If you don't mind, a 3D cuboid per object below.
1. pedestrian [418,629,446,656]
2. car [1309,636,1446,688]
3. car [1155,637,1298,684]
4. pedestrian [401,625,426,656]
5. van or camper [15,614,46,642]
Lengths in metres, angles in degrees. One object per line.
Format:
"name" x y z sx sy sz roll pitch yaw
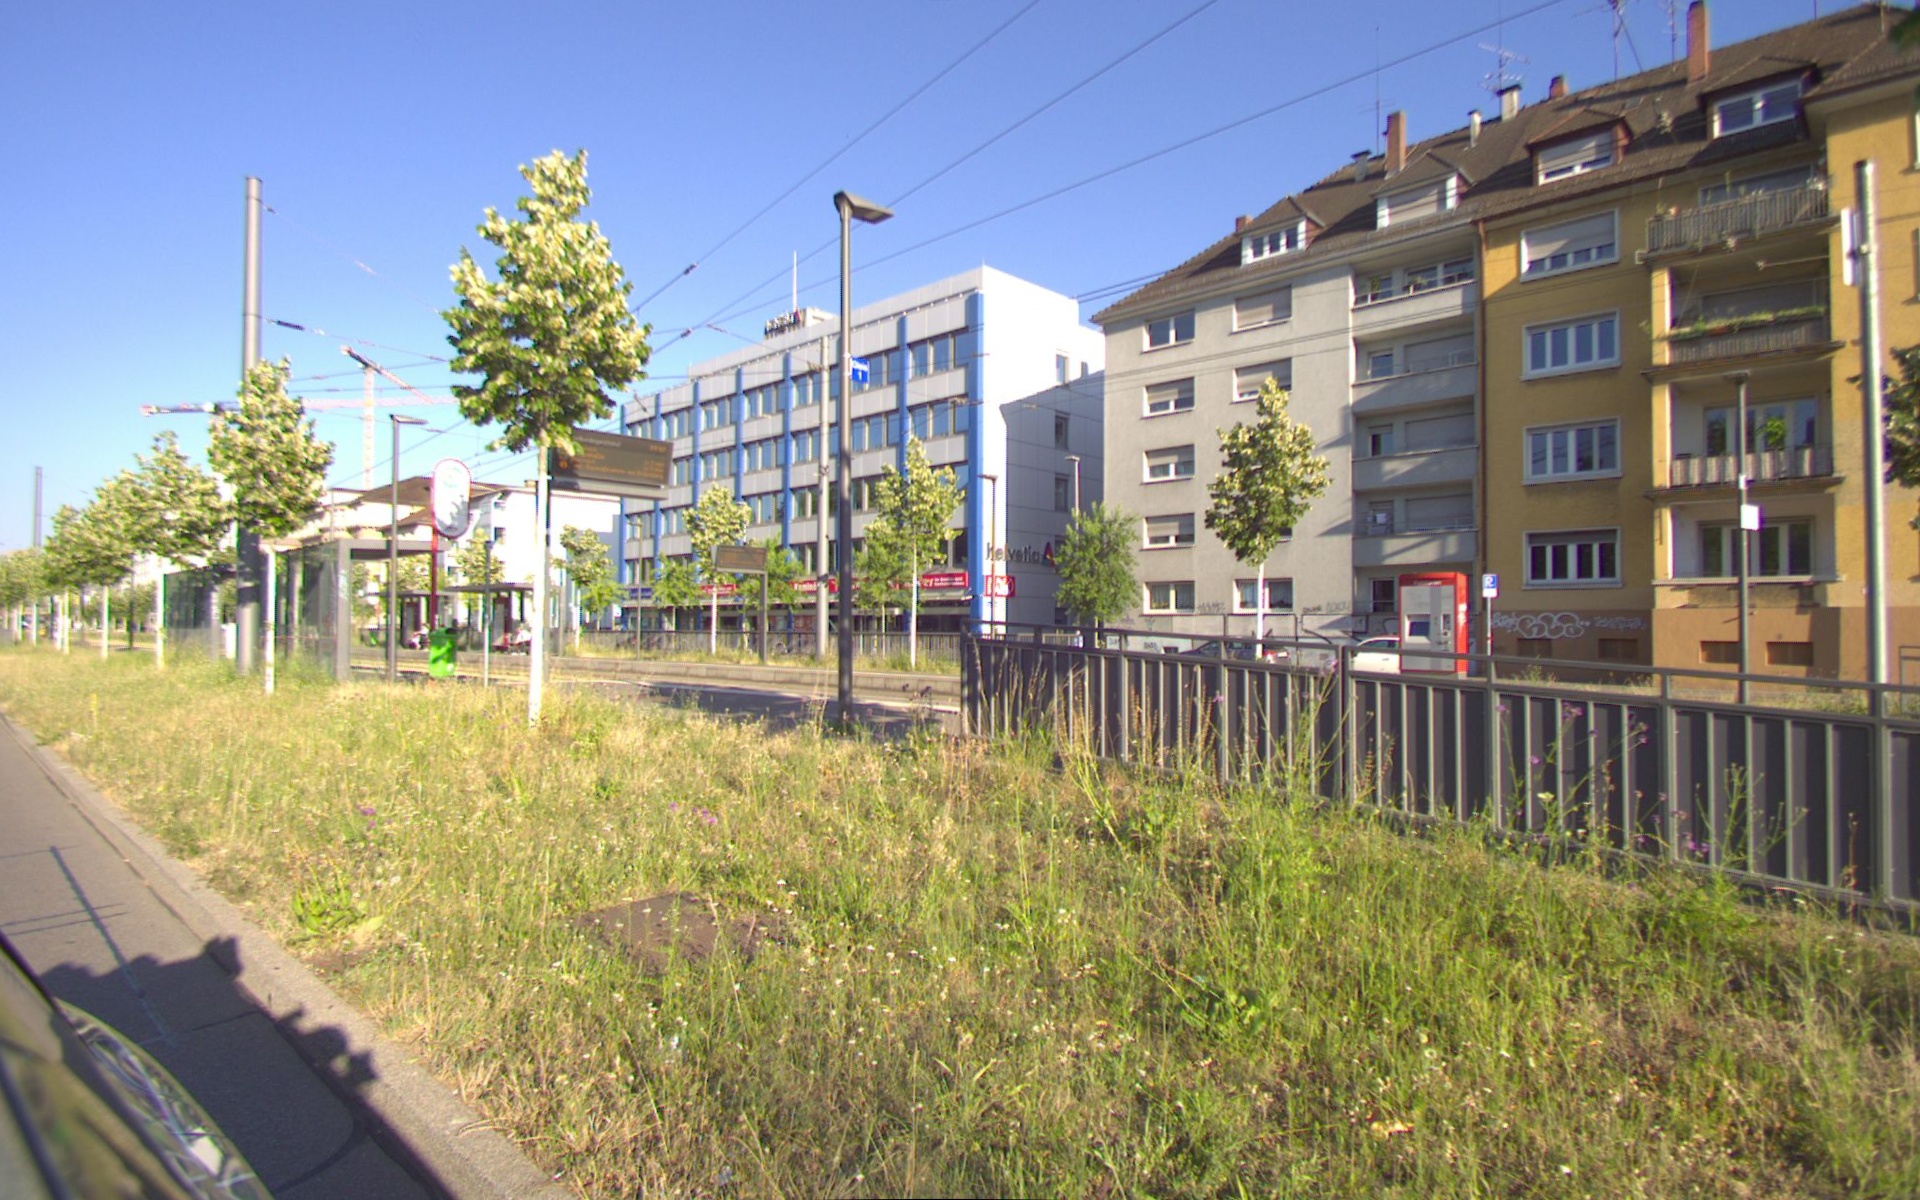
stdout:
"pedestrian" -24.129 1.937 46.268 0.764 1.206 0.923 -2 -3 43
"car" 12.961 1.884 31.506 3.553 1.497 1.728 -2 -3 43
"car" 9.197 2.047 35.156 4.431 1.519 1.972 -2 -3 43
"pedestrian" -25.965 1.917 48.072 0.804 1.421 0.829 -2 -3 43
"van or camper" -108.159 3.257 117.755 2.475 3.192 7.482 1 -2 -43
